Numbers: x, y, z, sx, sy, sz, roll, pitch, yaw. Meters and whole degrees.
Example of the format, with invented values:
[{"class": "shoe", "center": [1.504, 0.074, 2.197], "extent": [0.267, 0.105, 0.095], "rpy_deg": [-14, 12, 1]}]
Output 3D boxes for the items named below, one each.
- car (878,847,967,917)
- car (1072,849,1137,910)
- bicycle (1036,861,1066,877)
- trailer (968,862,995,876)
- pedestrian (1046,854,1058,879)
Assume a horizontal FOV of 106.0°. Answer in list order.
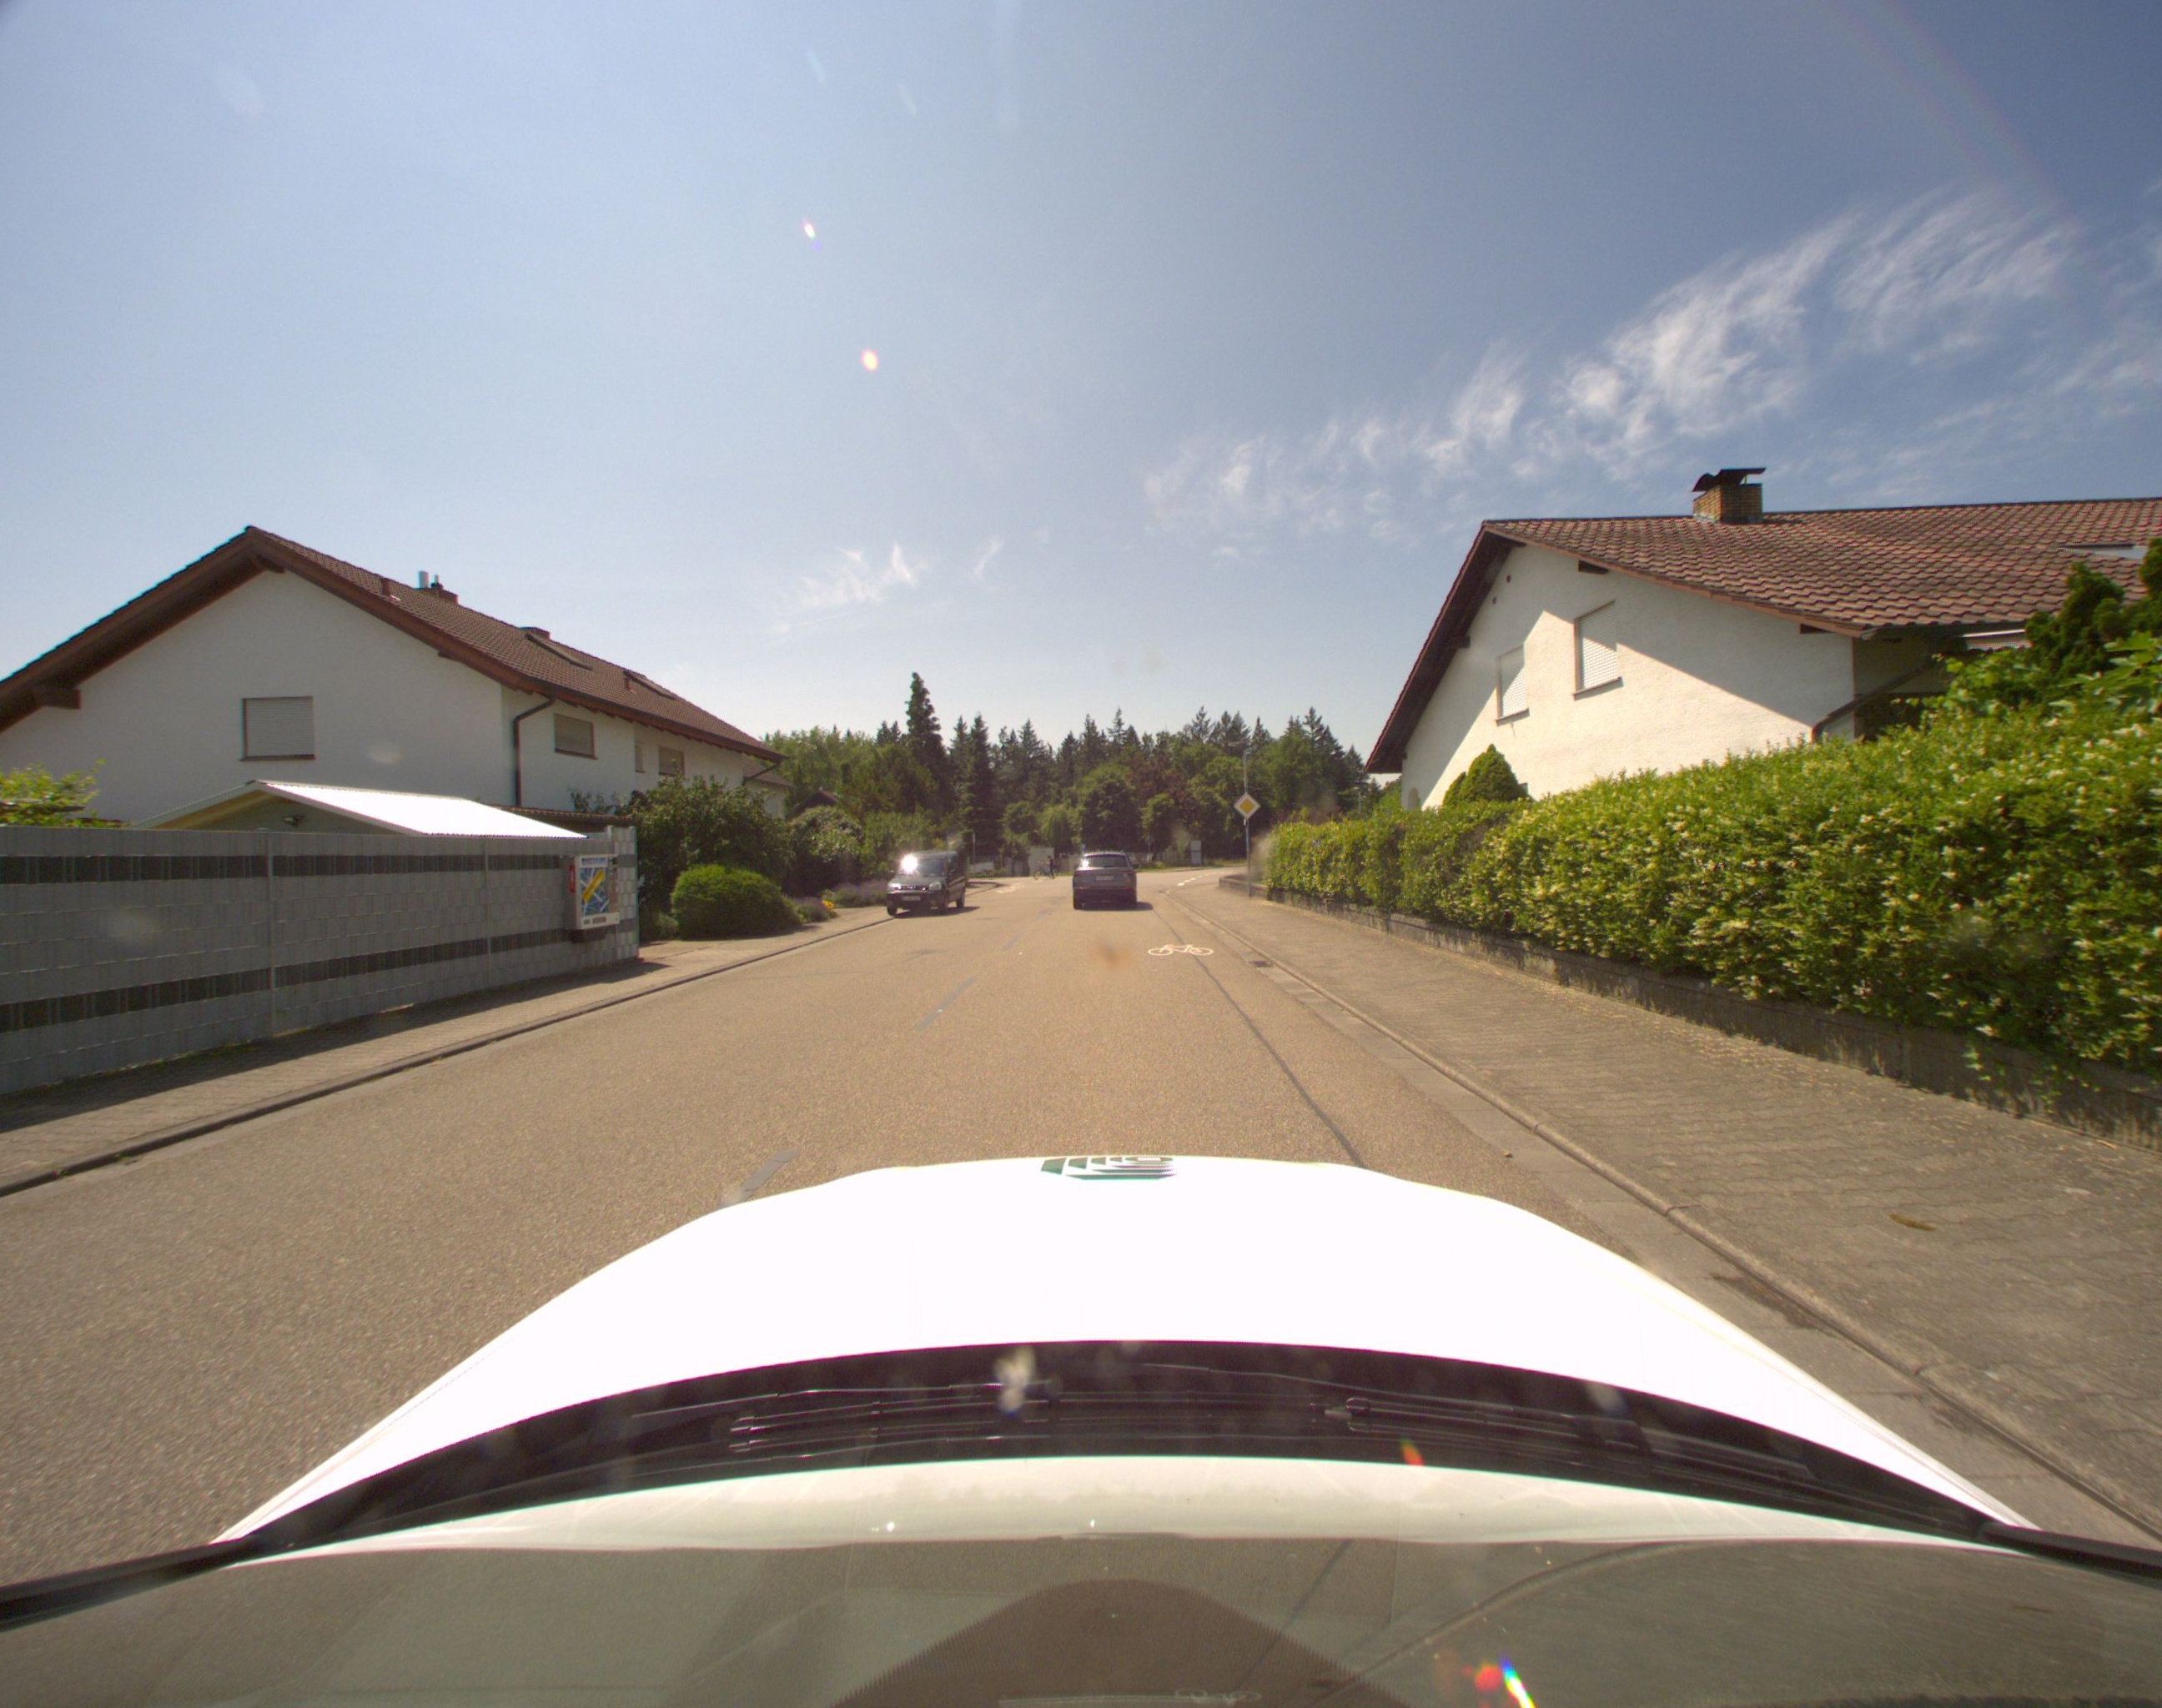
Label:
[{"class": "car", "center": [-4.529, 0.753, 23.866], "extent": [1.712, 1.846, 4.054], "rpy_deg": [-2, 0, 1]}, {"class": "car", "center": [0.659, 0.687, 23.906], "extent": [1.756, 1.618, 4.000], "rpy_deg": [0, 0, 1]}, {"class": "bicycle", "center": [-1.899, 0.969, 51.874], "extent": [1.848, 0.964, 0.440], "rpy_deg": [-2, 0, -19]}, {"class": "trailer", "center": [-8.136, 1.234, 66.700], "extent": [2.212, 1.084, 1.104], "rpy_deg": [-2, 0, -6]}, {"class": "pedestrian", "center": [-1.839, 0.780, 51.373], "extent": [0.612, 1.501, 0.501], "rpy_deg": [-2, -1, -19]}]
